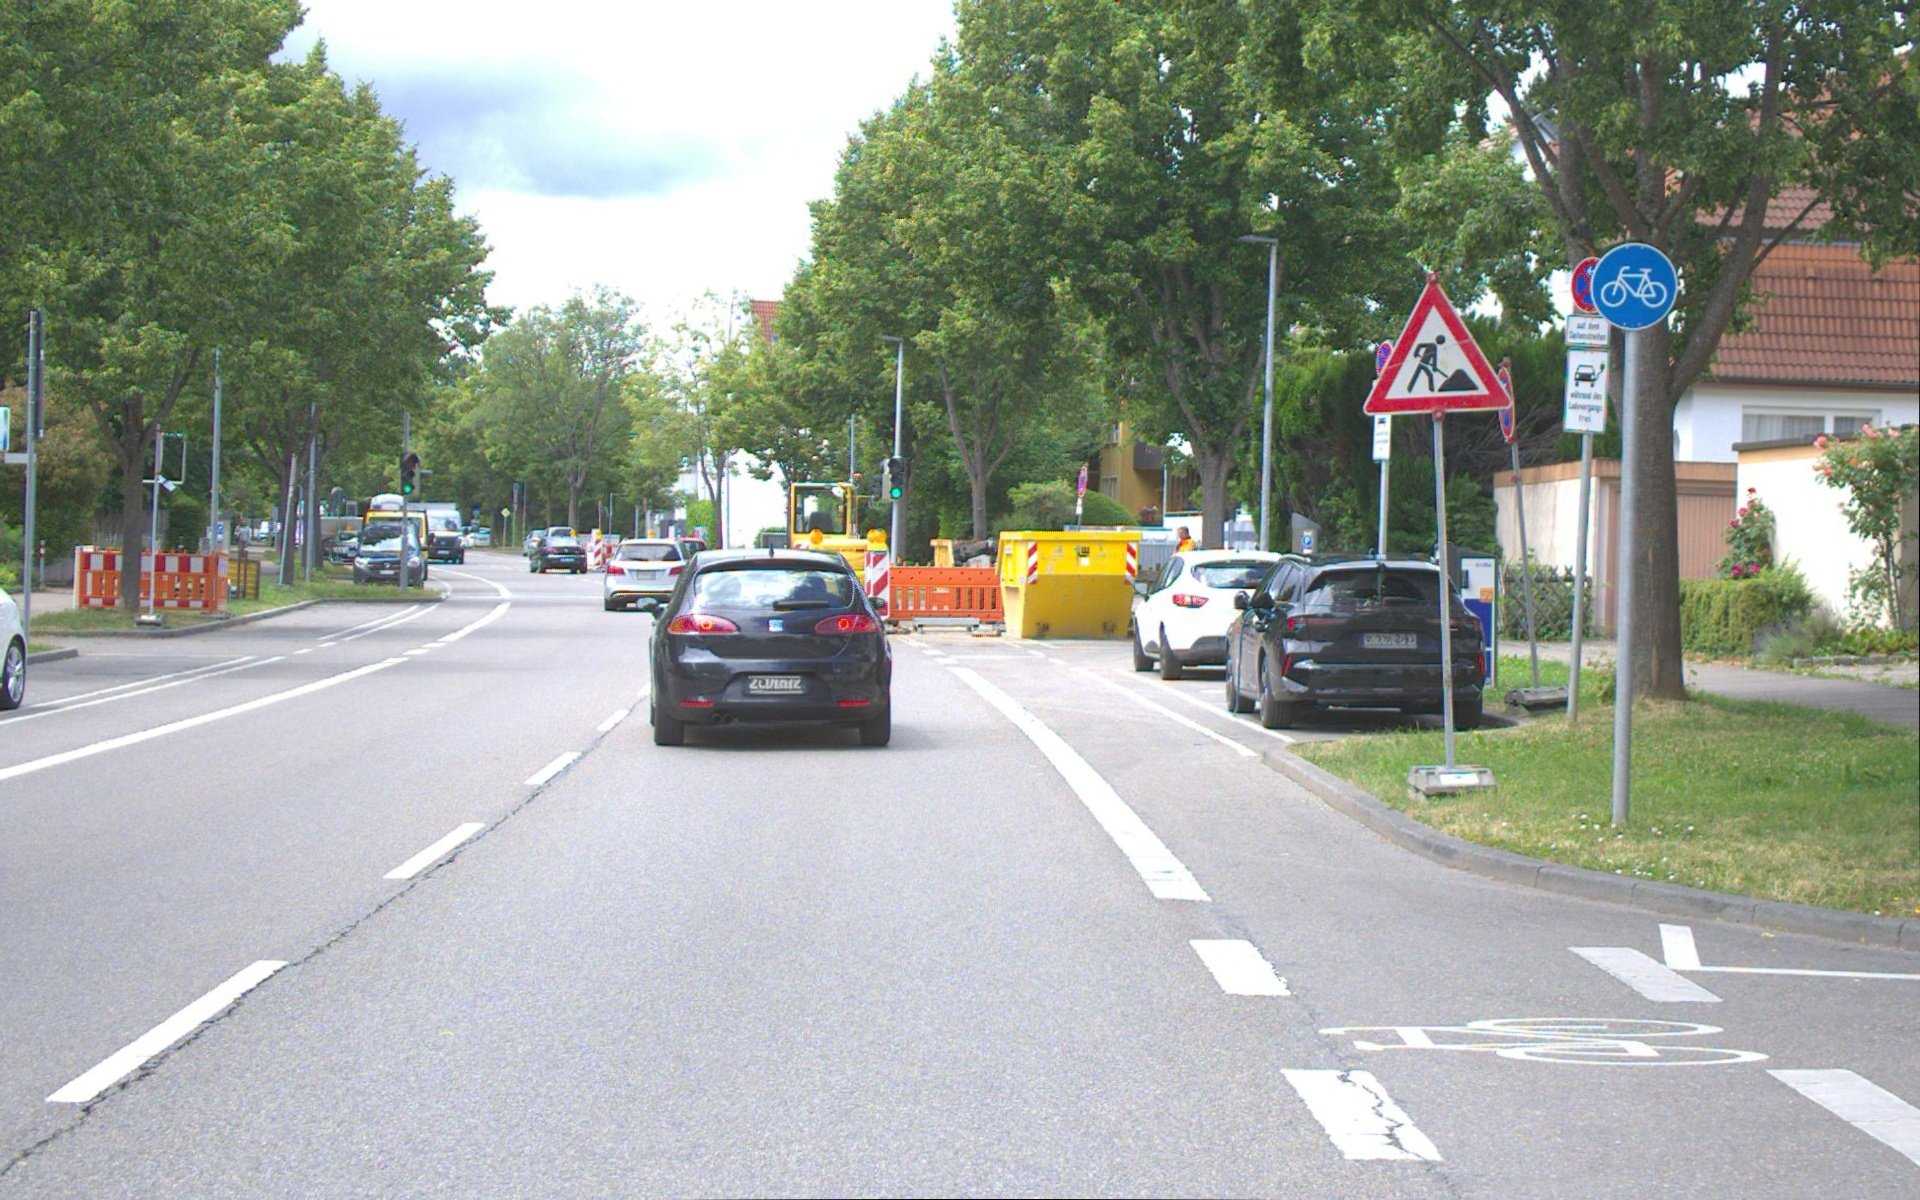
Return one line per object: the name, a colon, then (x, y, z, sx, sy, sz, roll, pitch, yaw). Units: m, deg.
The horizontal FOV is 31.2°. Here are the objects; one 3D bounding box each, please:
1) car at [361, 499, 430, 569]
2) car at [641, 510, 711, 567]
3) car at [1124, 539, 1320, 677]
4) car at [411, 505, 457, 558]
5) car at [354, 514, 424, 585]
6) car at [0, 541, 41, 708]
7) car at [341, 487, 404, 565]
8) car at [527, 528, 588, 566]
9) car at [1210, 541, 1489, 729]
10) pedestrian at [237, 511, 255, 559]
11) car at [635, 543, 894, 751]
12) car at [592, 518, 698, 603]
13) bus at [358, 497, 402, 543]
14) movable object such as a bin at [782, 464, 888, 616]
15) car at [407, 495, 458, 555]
car: (-18.065, -2.131, 110.117, 2.092, 2.167, 5.046, 1, 1, -9)
car: (-8.359, -1.813, 101.015, 1.790, 1.617, 3.741, 0, 1, -9)
car: (2.927, 0.050, 39.119, 1.672, 1.457, 4.001, 1, 1, -3)
car: (-23.925, -3.115, 156.455, 2.028, 2.376, 5.263, 0, 1, -8)
car: (-14.582, -1.324, 87.965, 1.667, 1.766, 4.469, 0, 1, -8)
car: (-8.945, 0.219, 27.994, 1.714, 1.401, 4.300, 1, 1, 1)
car: (-20.514, -2.599, 120.134, 2.092, 2.617, 5.046, 1, 1, -9)
car: (-15.291, -2.028, 130.428, 1.809, 1.370, 3.694, 1, 1, -14)
car: (3.236, 0.236, 29.376, 1.705, 1.449, 4.617, 1, 1, -2)
pedestrian: (-25.706, -2.346, 123.807, 0.595, 1.735, 0.574, 1, 1, -9)
car: (-1.479, 0.303, 26.157, 1.818, 1.433, 3.740, 0, 1, -3)
car: (-6.434, -0.829, 70.589, 1.905, 1.680, 3.740, 0, 1, -1)
bus: (-28.087, -3.866, 166.439, 1.993, 2.116, 7.361, 1, 1, -10)
movable object such as a bin: (-2.241, -1.074, 61.043, 1.768, 2.565, 3.740, 1, 1, -3)
car: (-24.915, -3.535, 162.527, 2.287, 2.782, 7.145, 0, 1, -8)
